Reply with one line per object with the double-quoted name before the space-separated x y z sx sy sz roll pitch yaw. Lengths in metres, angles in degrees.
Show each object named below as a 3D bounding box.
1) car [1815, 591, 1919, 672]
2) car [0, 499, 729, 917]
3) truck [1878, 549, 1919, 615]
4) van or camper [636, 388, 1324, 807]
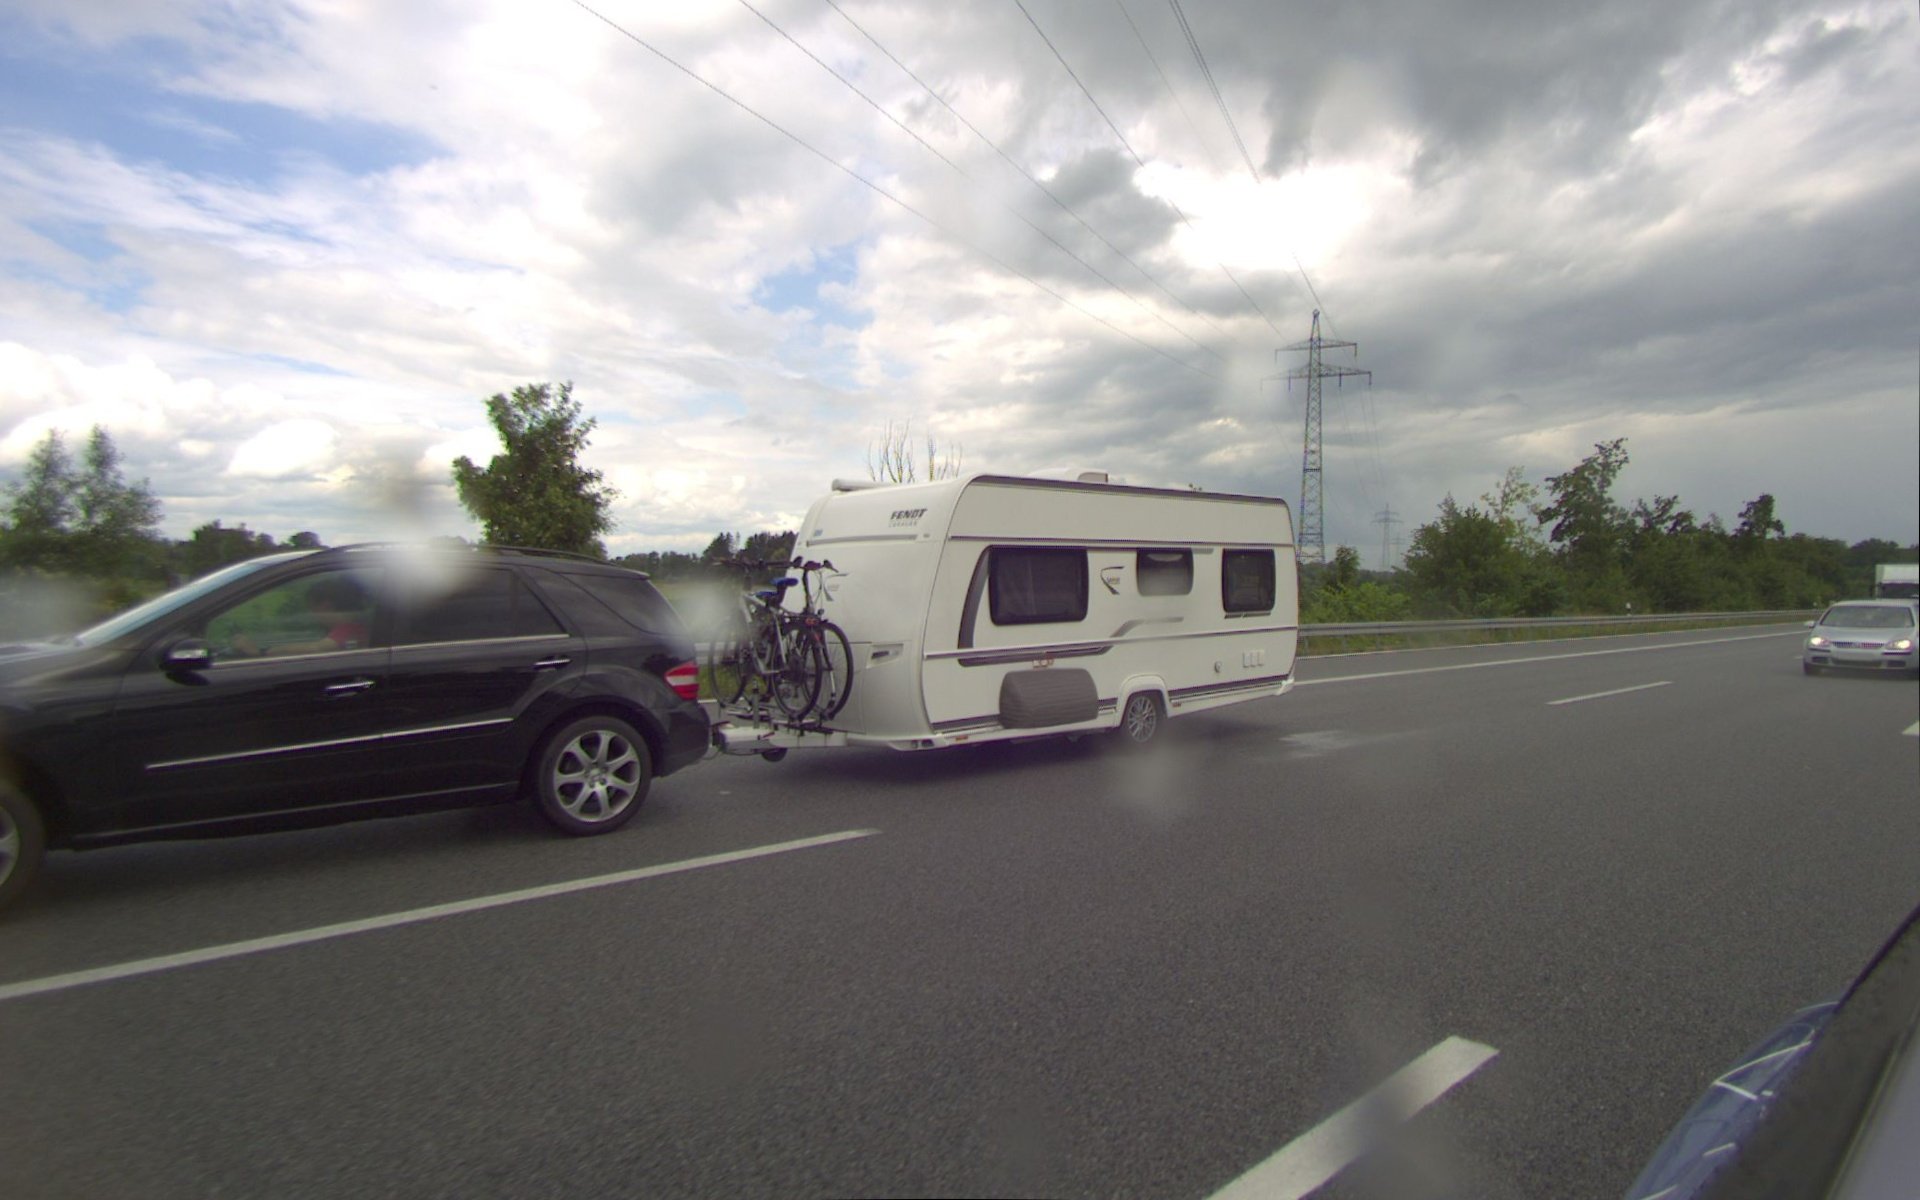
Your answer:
"car" 18.488 0.556 20.128 3.930 1.464 1.682 -1 1 -41
"car" -3.802 0.444 5.950 4.426 1.798 1.922 -1 1 -42
"truck" 56.627 -1.034 59.395 9.426 3.700 2.868 -1 0 -41
"van or camper" 0.701 -0.050 9.979 7.085 2.773 2.387 -1 0 -42
